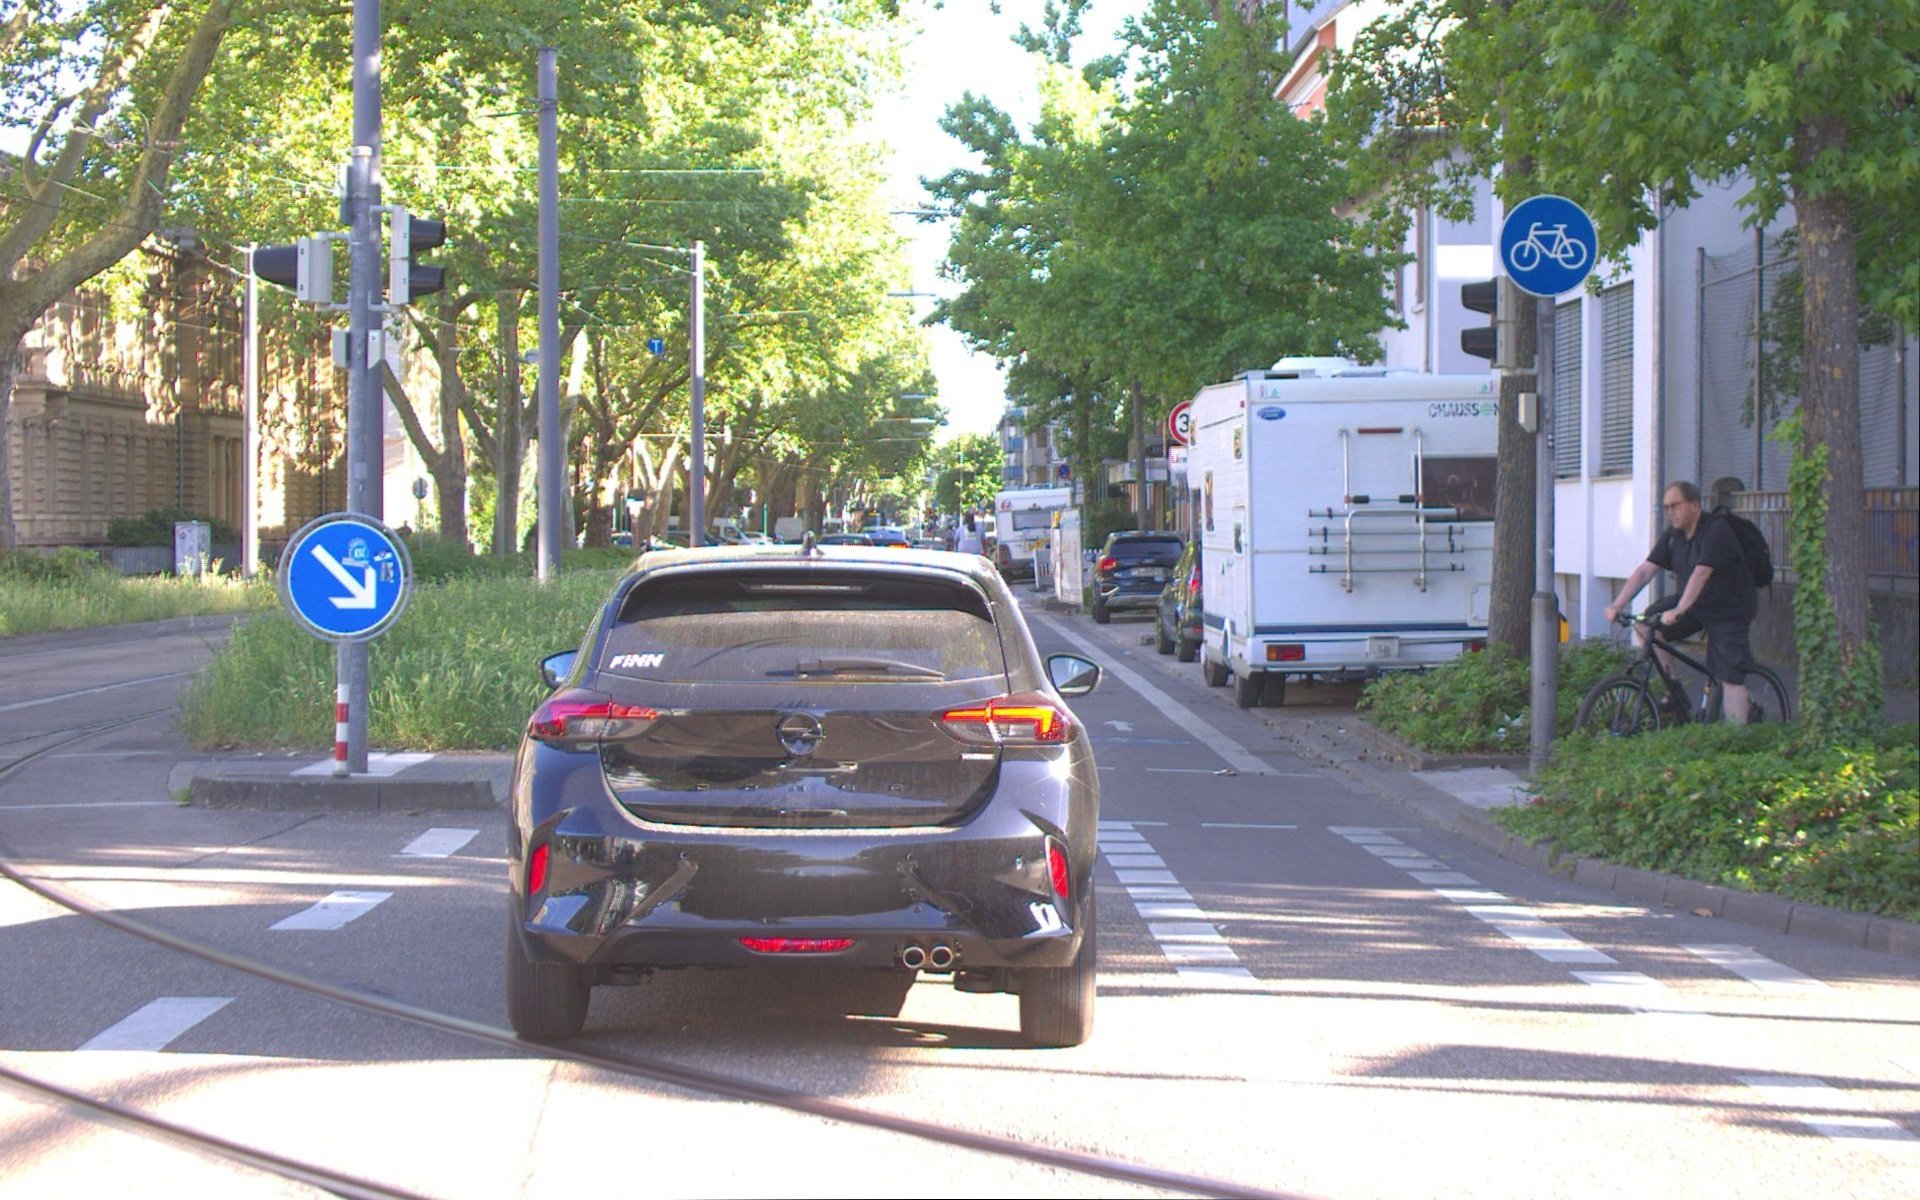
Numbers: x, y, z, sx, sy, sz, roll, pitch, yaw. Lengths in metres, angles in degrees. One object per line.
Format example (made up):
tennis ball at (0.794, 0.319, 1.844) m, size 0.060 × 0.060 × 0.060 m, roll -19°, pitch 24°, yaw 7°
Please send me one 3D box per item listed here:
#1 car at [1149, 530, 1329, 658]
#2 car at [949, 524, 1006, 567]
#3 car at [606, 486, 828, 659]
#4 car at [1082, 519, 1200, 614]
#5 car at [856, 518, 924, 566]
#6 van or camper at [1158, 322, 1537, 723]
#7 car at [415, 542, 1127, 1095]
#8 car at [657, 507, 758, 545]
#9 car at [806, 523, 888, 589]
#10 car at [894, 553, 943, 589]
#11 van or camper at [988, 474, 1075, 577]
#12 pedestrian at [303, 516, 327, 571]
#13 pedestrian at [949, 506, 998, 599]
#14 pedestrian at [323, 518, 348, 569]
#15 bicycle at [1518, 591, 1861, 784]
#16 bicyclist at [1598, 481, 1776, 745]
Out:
car at (3.304, -0.107, 41.405) m, size 1.685 × 1.415 × 4.049 m, roll -1°, pitch 1°, yaw -2°
car at (0.631, -1.904, 119.471) m, size 1.905 × 1.420 × 4.215 m, roll 0°, pitch 2°, yaw 1°
car at (-2.462, -0.330, 35.845) m, size 1.993 × 1.622 × 4.471 m, roll 2°, pitch 1°, yaw -1°
car at (3.048, -0.598, 58.492) m, size 1.790 × 1.505 × 3.874 m, roll -2°, pitch 1°, yaw 1°
car at (-2.131, -1.799, 105.797) m, size 1.905 × 1.420 × 4.215 m, roll 0°, pitch 2°, yaw 1°
van or camper at (3.347, -0.720, 31.502) m, size 2.375 × 3.114 × 7.551 m, roll -3°, pitch 1°, yaw -1°
car at (-0.464, 0.550, 11.305) m, size 1.905 × 1.420 × 4.215 m, roll 0°, pitch 2°, yaw 1°
car at (-14.744, -4.326, 200.892) m, size 5.687 × 2.190 × 2.289 m, roll 0°, pitch 1°, yaw 1°
car at (-2.756, -1.104, 84.559) m, size 1.790 × 1.505 × 3.874 m, roll -2°, pitch 1°, yaw 1°
car at (-1.706, -1.207, 143.506) m, size 1.905 × 1.420 × 4.215 m, roll 0°, pitch 2°, yaw 1°
van or camper at (2.171, -2.290, 104.988) m, size 2.486 × 2.983 × 5.434 m, roll 2°, pitch 1°, yaw 1°
pedestrian at (-20.830, -1.827, 110.992) m, size 0.618 × 1.727 × 0.596 m, roll 2°, pitch 1°, yaw -1°
pedestrian at (0.294, -1.046, 75.226) m, size 1.036 × 2.017 × 1.212 m, roll 0°, pitch 1°, yaw -1°
pedestrian at (-20.203, -1.833, 111.274) m, size 0.658 × 1.616 × 0.615 m, roll 2°, pitch 1°, yaw -1°
bicycle at (4.262, 0.492, 20.054) m, size 1.944 × 1.066 × 0.641 m, roll 0°, pitch 1°, yaw -24°
bicyclist at (4.230, 0.063, 20.039) m, size 0.699 × 1.504 × 0.751 m, roll -1°, pitch 1°, yaw -24°
